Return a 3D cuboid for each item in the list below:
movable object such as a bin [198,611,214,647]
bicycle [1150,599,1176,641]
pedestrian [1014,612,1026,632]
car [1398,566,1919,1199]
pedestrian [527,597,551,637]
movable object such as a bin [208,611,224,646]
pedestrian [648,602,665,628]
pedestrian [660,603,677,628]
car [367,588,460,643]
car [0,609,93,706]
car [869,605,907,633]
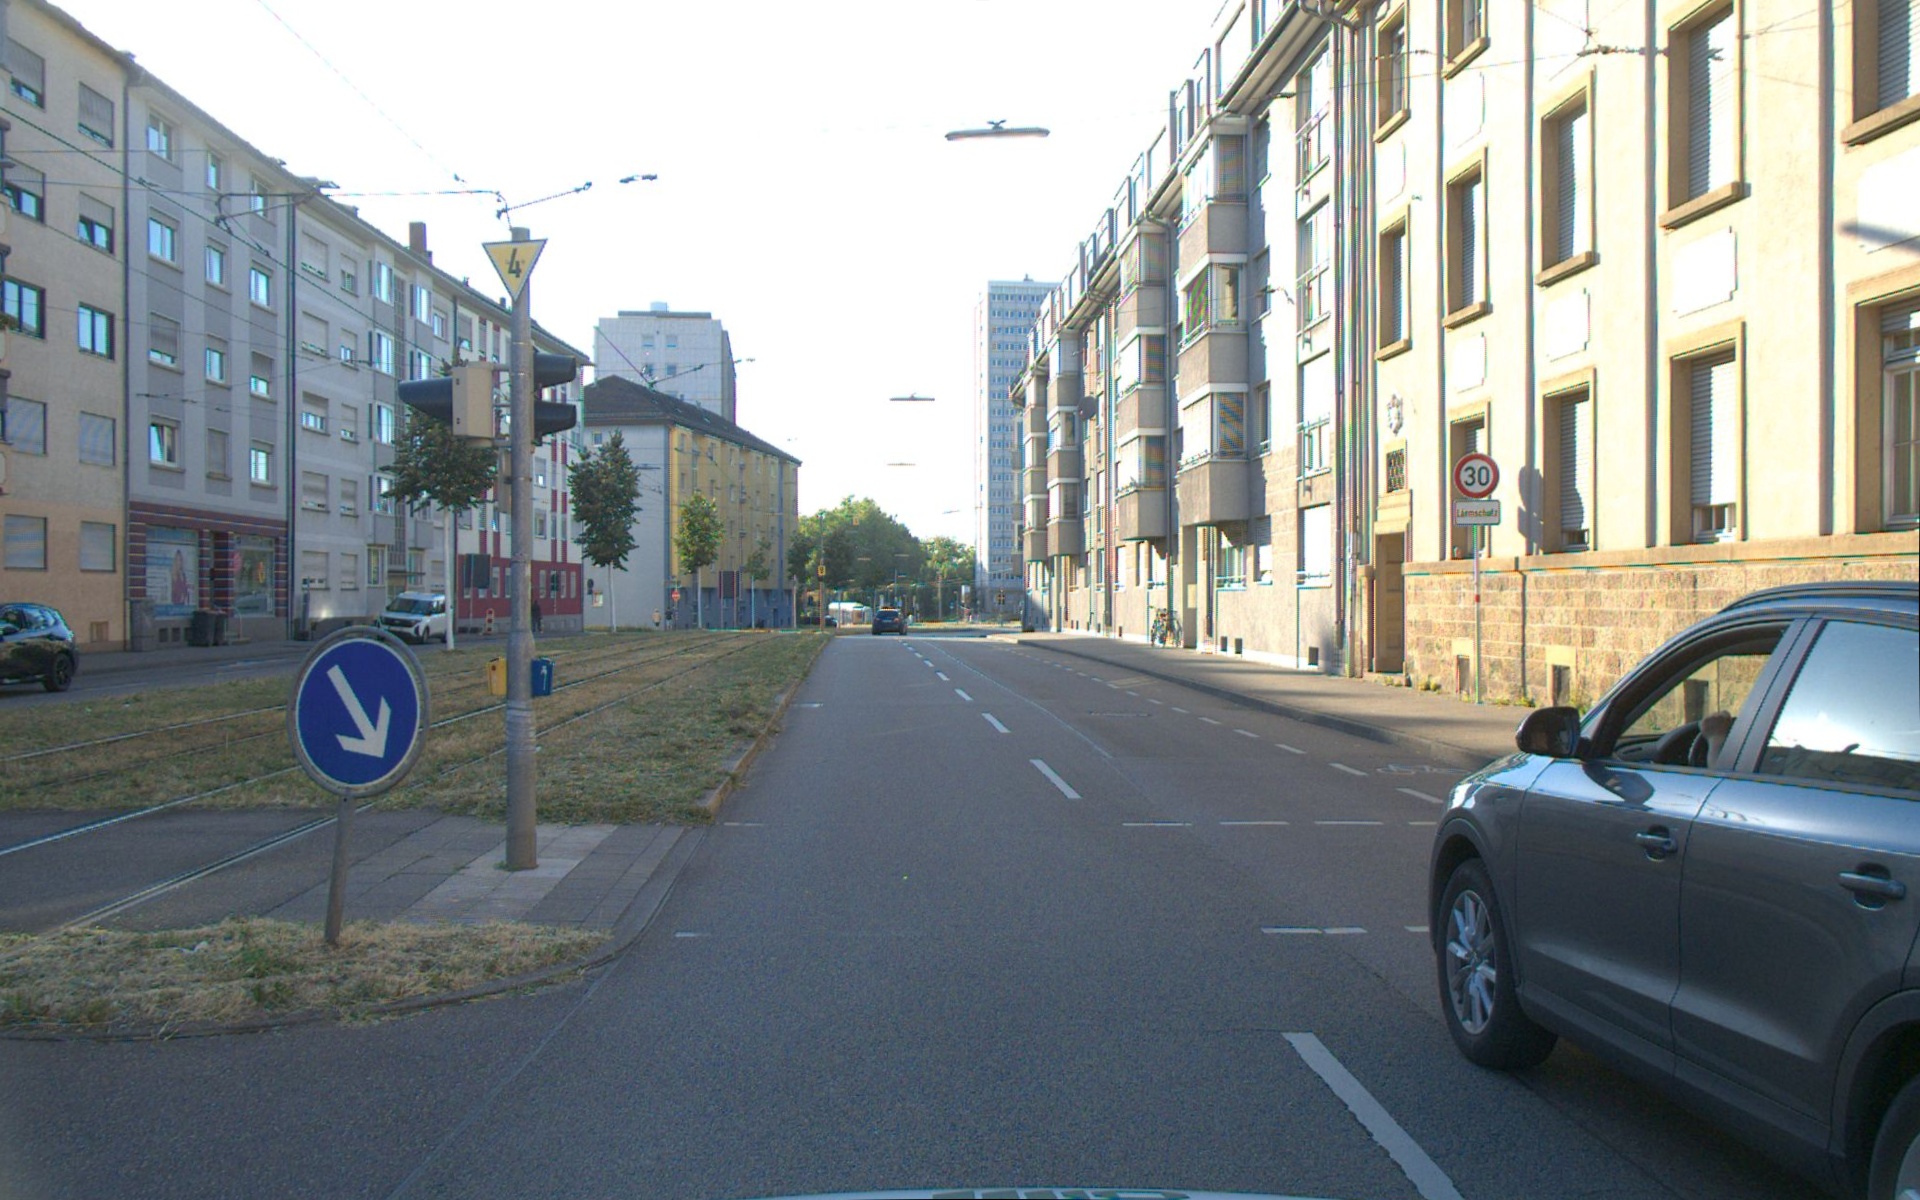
[{"bbox_3d":[-22.349,0.857,49.024,0.292,1.055,0.441,1,-1,-4],"label":"movable object such as a bin"},{"bbox_3d":[5.462,0.540,44.539,0.376,1.115,1.502,-1,-1,-5],"label":"bicycle"},{"bbox_3d":[3.756,1.362,103.362,0.677,1.256,0.736,1,-1,3],"label":"pedestrian"},{"bbox_3d":[2.635,0.735,4.285,1.664,1.580,4.222,0,0,-4],"label":"car"},{"bbox_3d":[-22.194,0.908,87.185,0.984,2.071,0.886,1,-1,2],"label":"pedestrian"},{"bbox_3d":[-22.311,0.851,49.614,0.292,1.055,0.441,1,-1,-4],"label":"movable object such as a bin"},{"bbox_3d":[-21.092,1.045,115.087,0.942,1.723,1.011,1,-1,2],"label":"pedestrian"},{"bbox_3d":[-20.317,1.069,115.102,0.942,1.699,1.011,1,-1,2],"label":"pedestrian"},{"bbox_3d":[-20.596,0.586,62.557,1.952,1.959,4.542,1,-1,0],"label":"car"},{"bbox_3d":[-17.606,1.021,29.567,1.859,1.662,4.745,-1,0,-3],"label":"car"},{"bbox_3d":[-3.984,1.064,92.333,1.887,1.481,4.327,1,-1,1],"label":"car"}]
